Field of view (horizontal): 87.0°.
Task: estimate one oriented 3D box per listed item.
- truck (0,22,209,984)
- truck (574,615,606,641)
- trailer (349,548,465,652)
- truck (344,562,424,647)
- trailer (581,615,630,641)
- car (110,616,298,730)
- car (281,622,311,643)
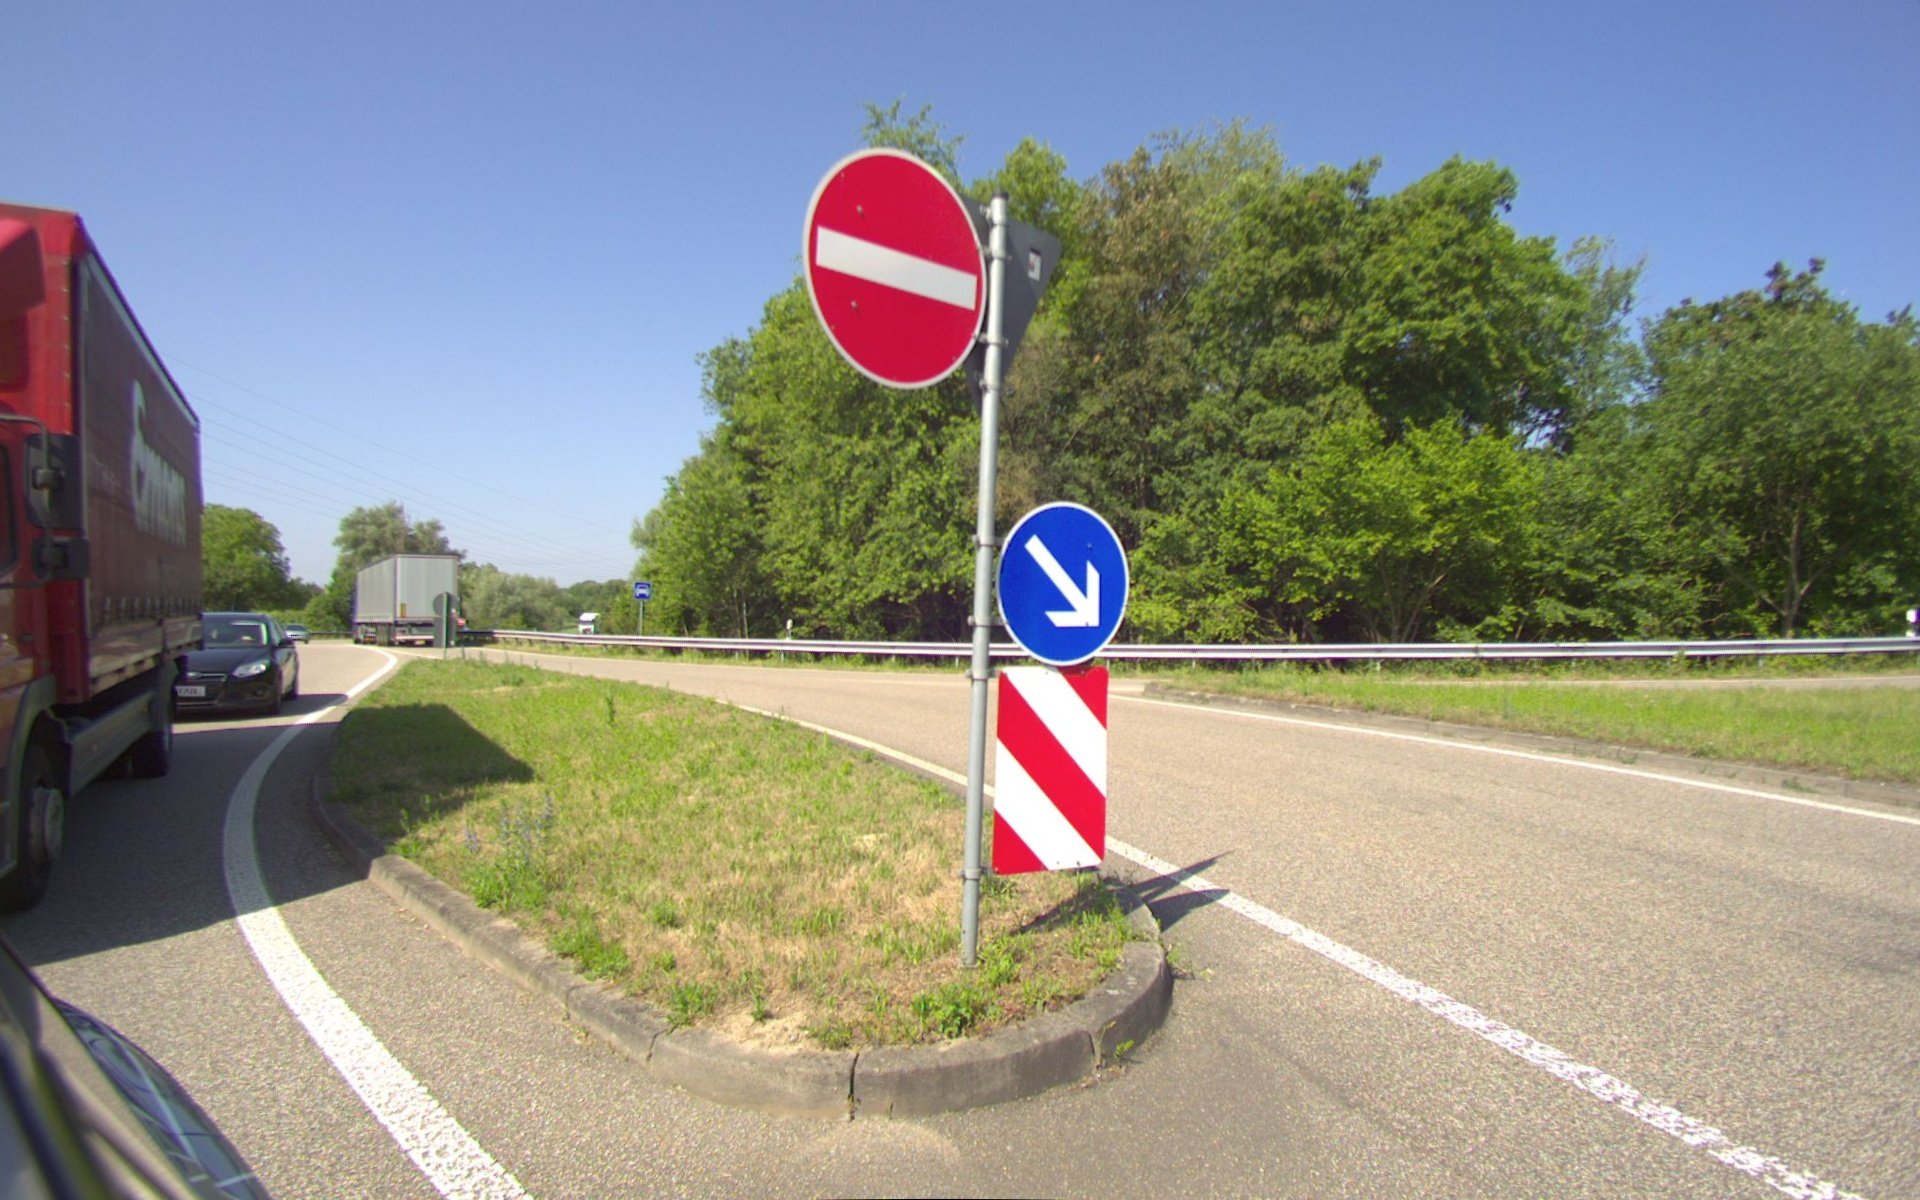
[{"bbox_3d":[-7.270,-0.313,7.074,2.646,3.689,9.288,0,-1,-33],"label":"truck"},{"bbox_3d":[-61.692,4.678,169.002,2.902,4.270,5.726,1,-2,3],"label":"truck"},{"bbox_3d":[-26.843,0.209,48.647,2.911,4.300,14.012,3,-3,-36],"label":"trailer"},{"bbox_3d":[-30.925,0.316,54.237,2.892,4.279,5.745,3,-3,-36],"label":"truck"},{"bbox_3d":[-61.345,4.919,175.623,2.892,4.272,13.966,1,-2,3],"label":"trailer"},{"bbox_3d":[-10.965,0.959,14.952,1.758,1.425,4.012,0,-1,-30],"label":"car"},{"bbox_3d":[-48.545,2.366,74.064,1.758,1.396,4.390,0,-1,-33],"label":"car"}]
